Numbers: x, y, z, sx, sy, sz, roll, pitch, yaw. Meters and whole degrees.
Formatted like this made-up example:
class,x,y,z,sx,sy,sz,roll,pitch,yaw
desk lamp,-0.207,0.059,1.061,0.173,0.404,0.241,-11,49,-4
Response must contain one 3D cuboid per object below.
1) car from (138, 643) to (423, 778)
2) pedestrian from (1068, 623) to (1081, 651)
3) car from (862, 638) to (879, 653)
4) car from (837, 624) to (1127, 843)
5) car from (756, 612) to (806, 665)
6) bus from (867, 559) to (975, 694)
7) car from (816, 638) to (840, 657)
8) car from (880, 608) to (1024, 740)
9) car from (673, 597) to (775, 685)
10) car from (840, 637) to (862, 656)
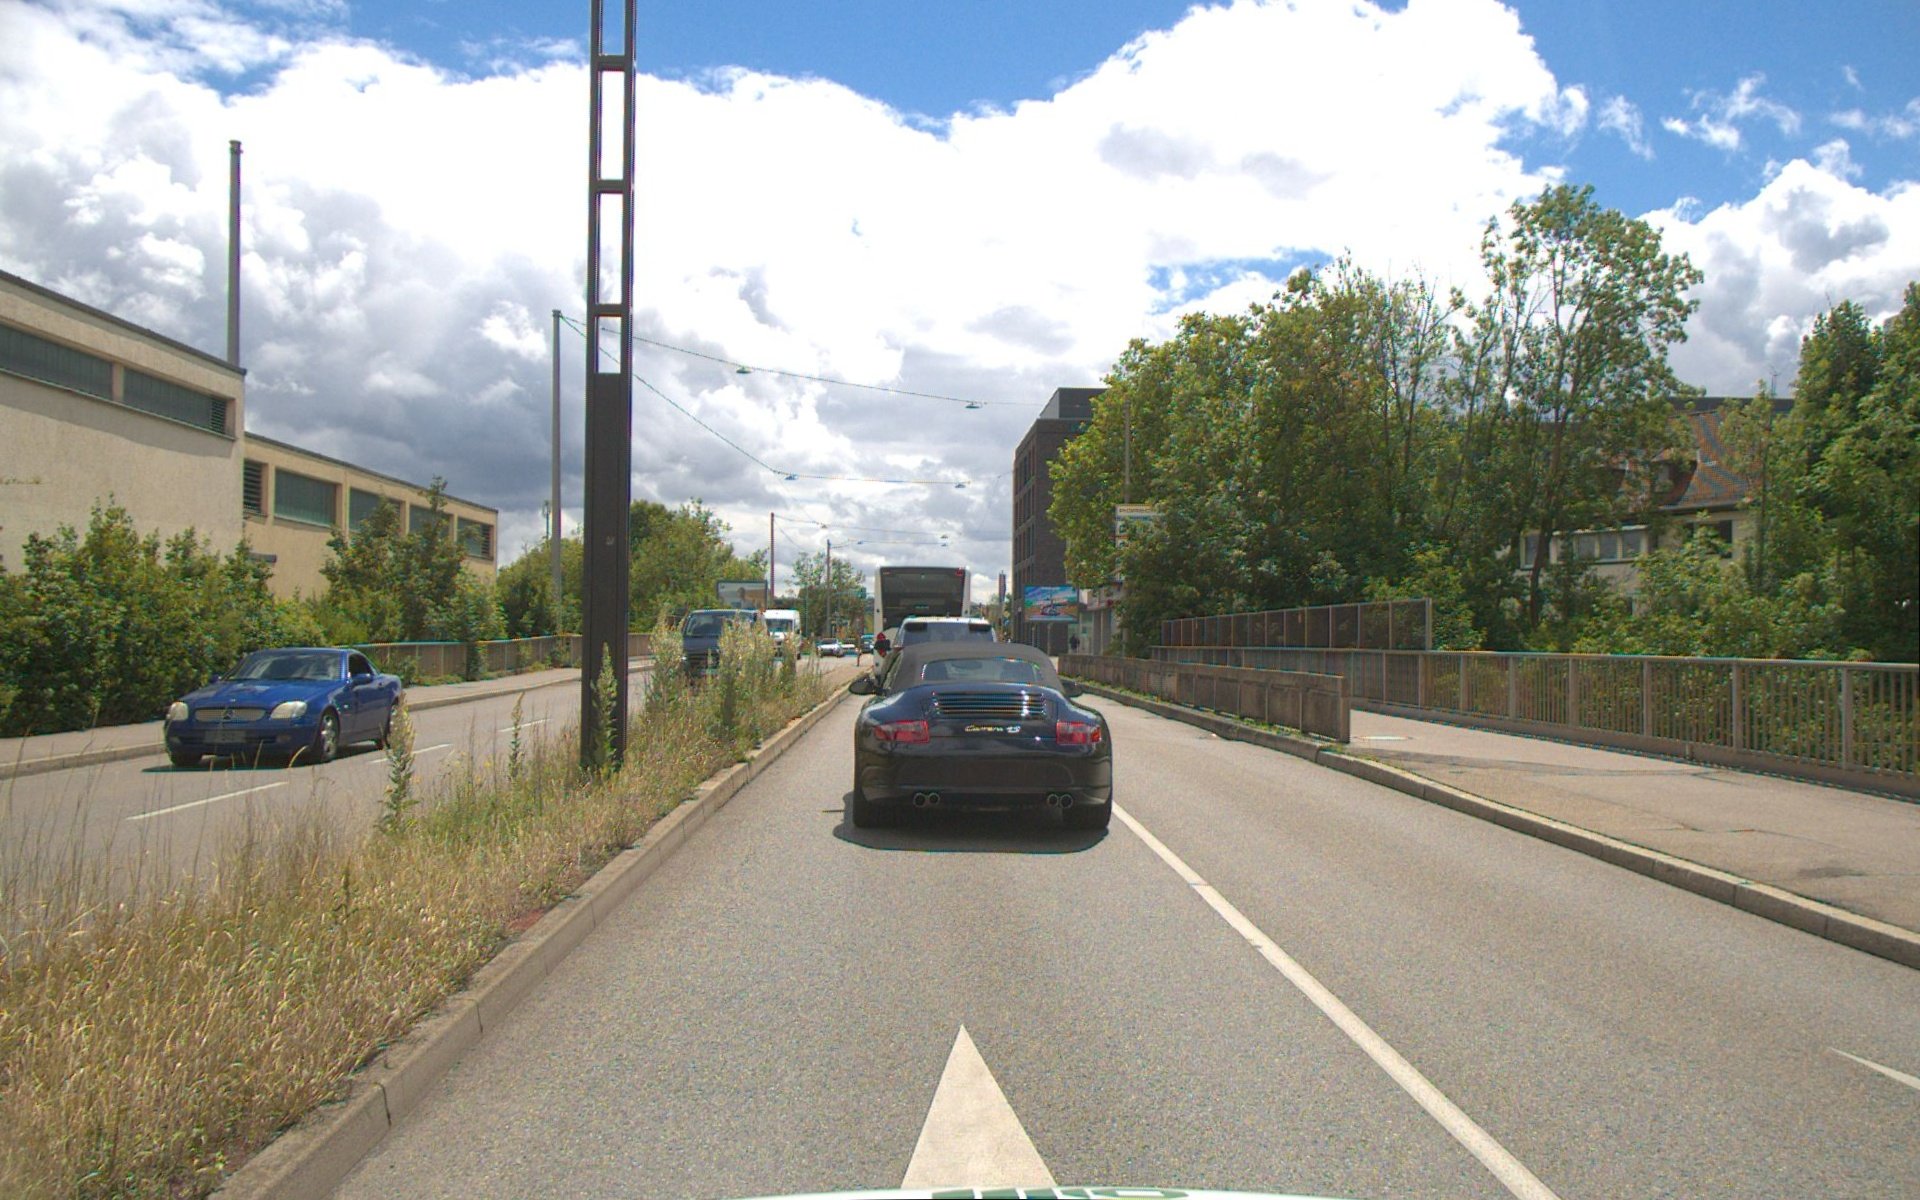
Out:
class,x,y,z,sx,sy,sz,roll,pitch,yaw
car,-7.790,1.211,19.390,1.719,1.298,3.999,-2,-1,-1
pedestrian,7.046,2.294,101.651,0.666,1.726,0.598,0,-2,24
car,-9.023,4.594,166.879,1.595,1.456,3.998,1,-2,-1
car,0.001,0.907,12.775,1.687,1.297,4.082,1,0,-7
car,-9.294,1.984,86.221,2.025,2.616,6.818,-1,-1,-2
bus,-1.042,0.522,48.032,2.634,3.312,12.057,2,2,-1
car,-10.077,3.601,126.181,1.604,1.387,4.193,0,-1,-2
car,-0.130,0.983,23.790,1.841,1.622,4.229,2,0,-1
car,-5.470,0.920,38.853,1.954,1.921,4.865,0,-1,-3
car,-9.719,4.123,147.474,1.773,1.588,4.205,1,-2,-2
